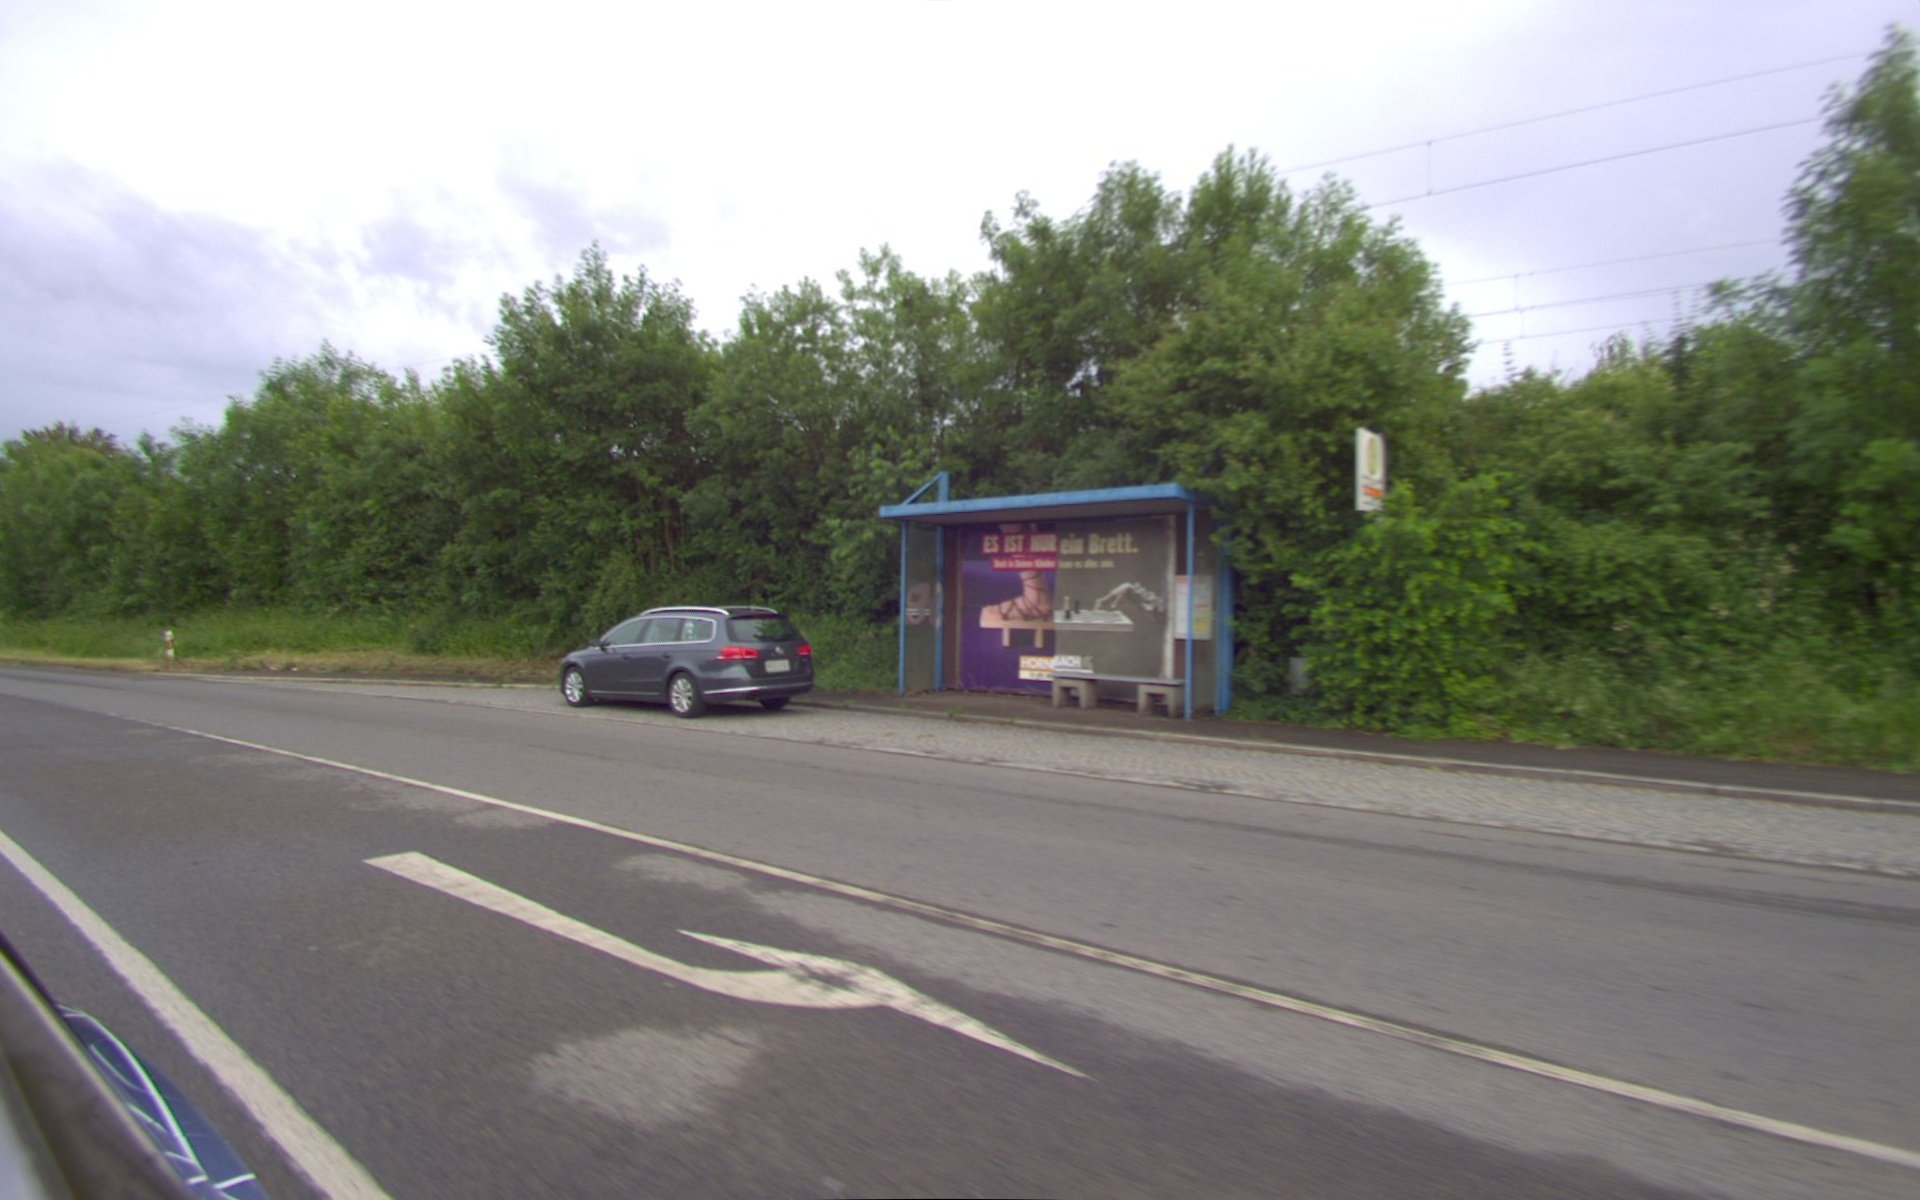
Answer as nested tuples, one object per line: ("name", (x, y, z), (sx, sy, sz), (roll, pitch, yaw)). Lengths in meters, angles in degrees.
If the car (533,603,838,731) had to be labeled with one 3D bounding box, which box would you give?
("car", (-4.148, 0.848, 14.894), (4.696, 1.485, 1.974), (1, 2, 40))
